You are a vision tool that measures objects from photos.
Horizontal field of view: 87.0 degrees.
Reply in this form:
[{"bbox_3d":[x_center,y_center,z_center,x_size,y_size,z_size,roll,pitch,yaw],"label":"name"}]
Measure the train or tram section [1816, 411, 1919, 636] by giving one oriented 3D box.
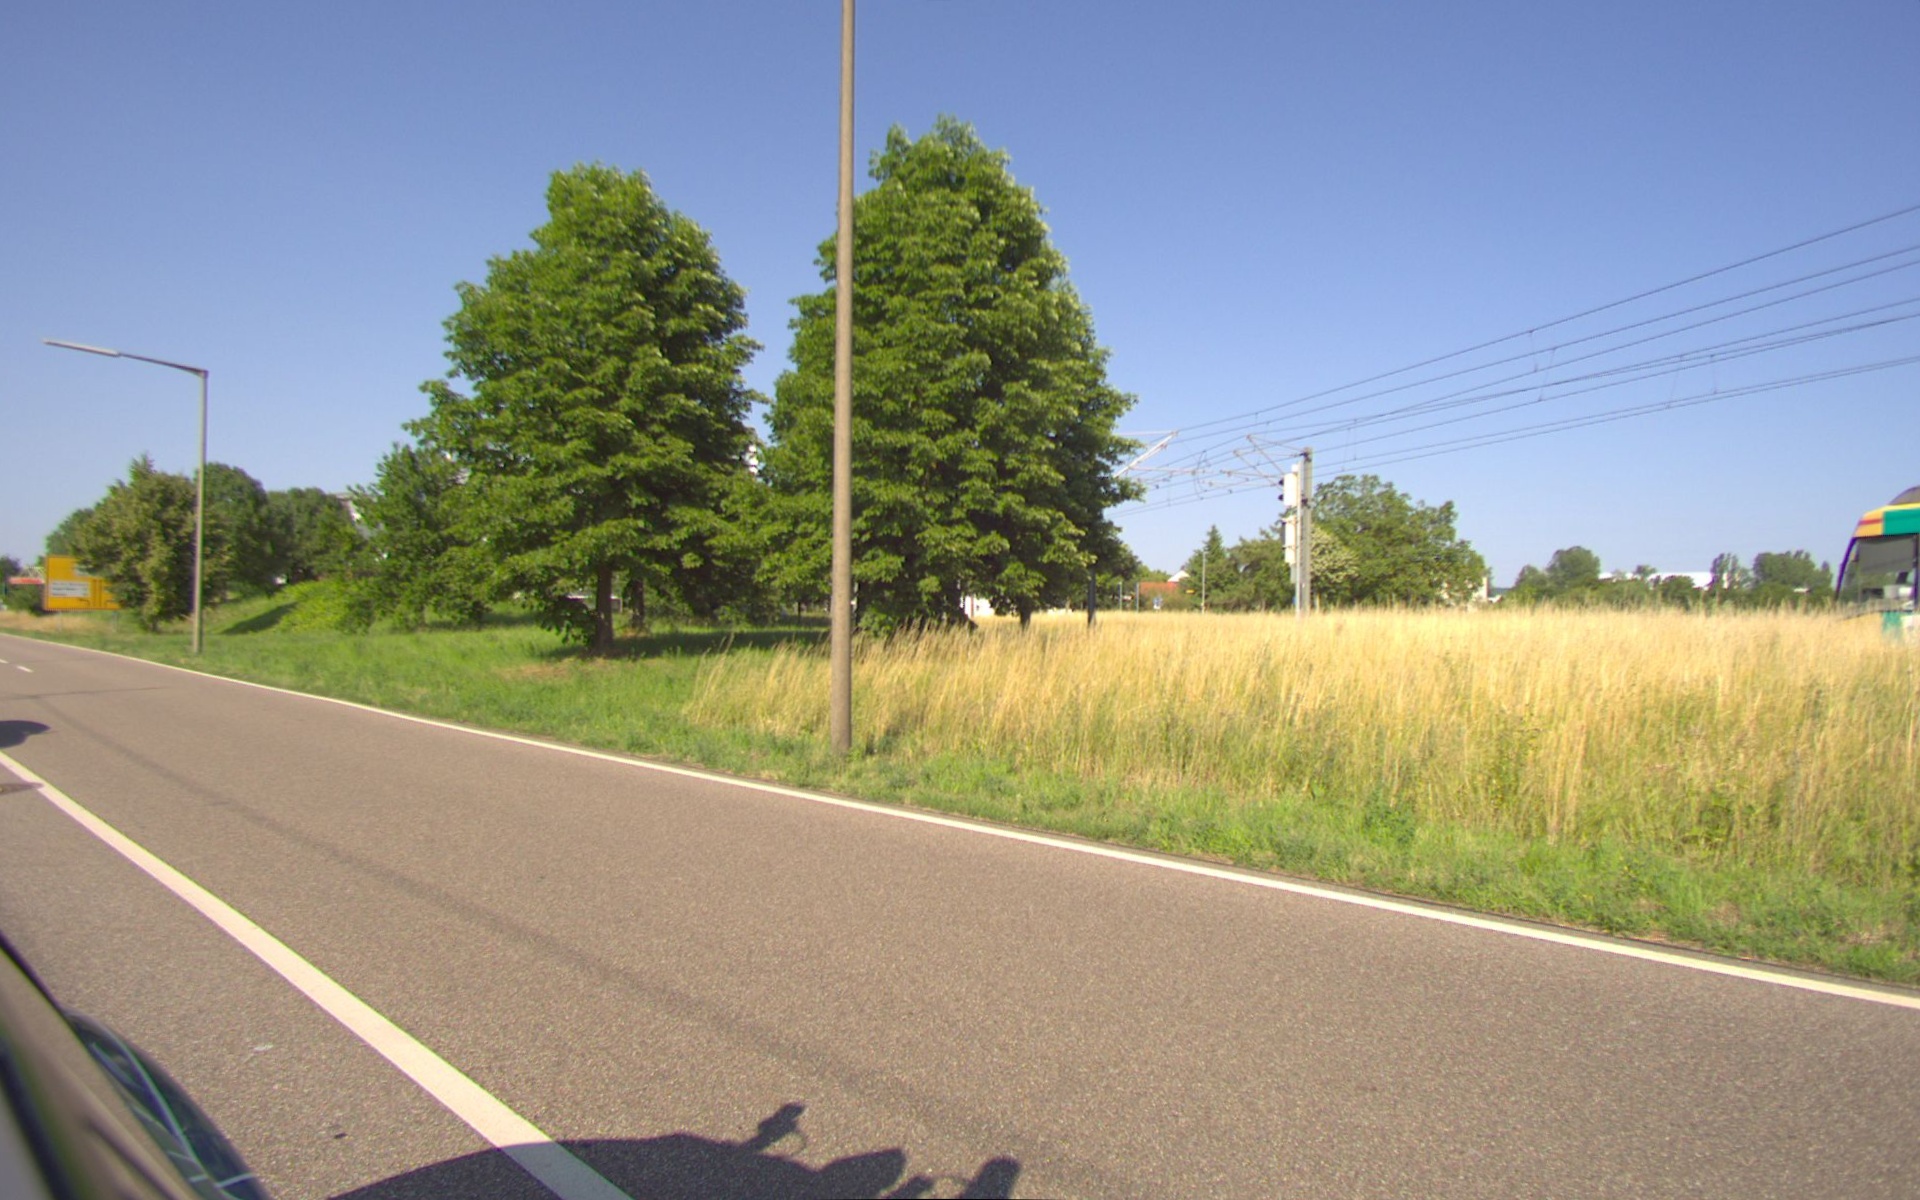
[{"bbox_3d":[17.986,-1.251,11.889,2.909,3.511,12.205,-1,0,-20],"label":"train or tram section"}]
